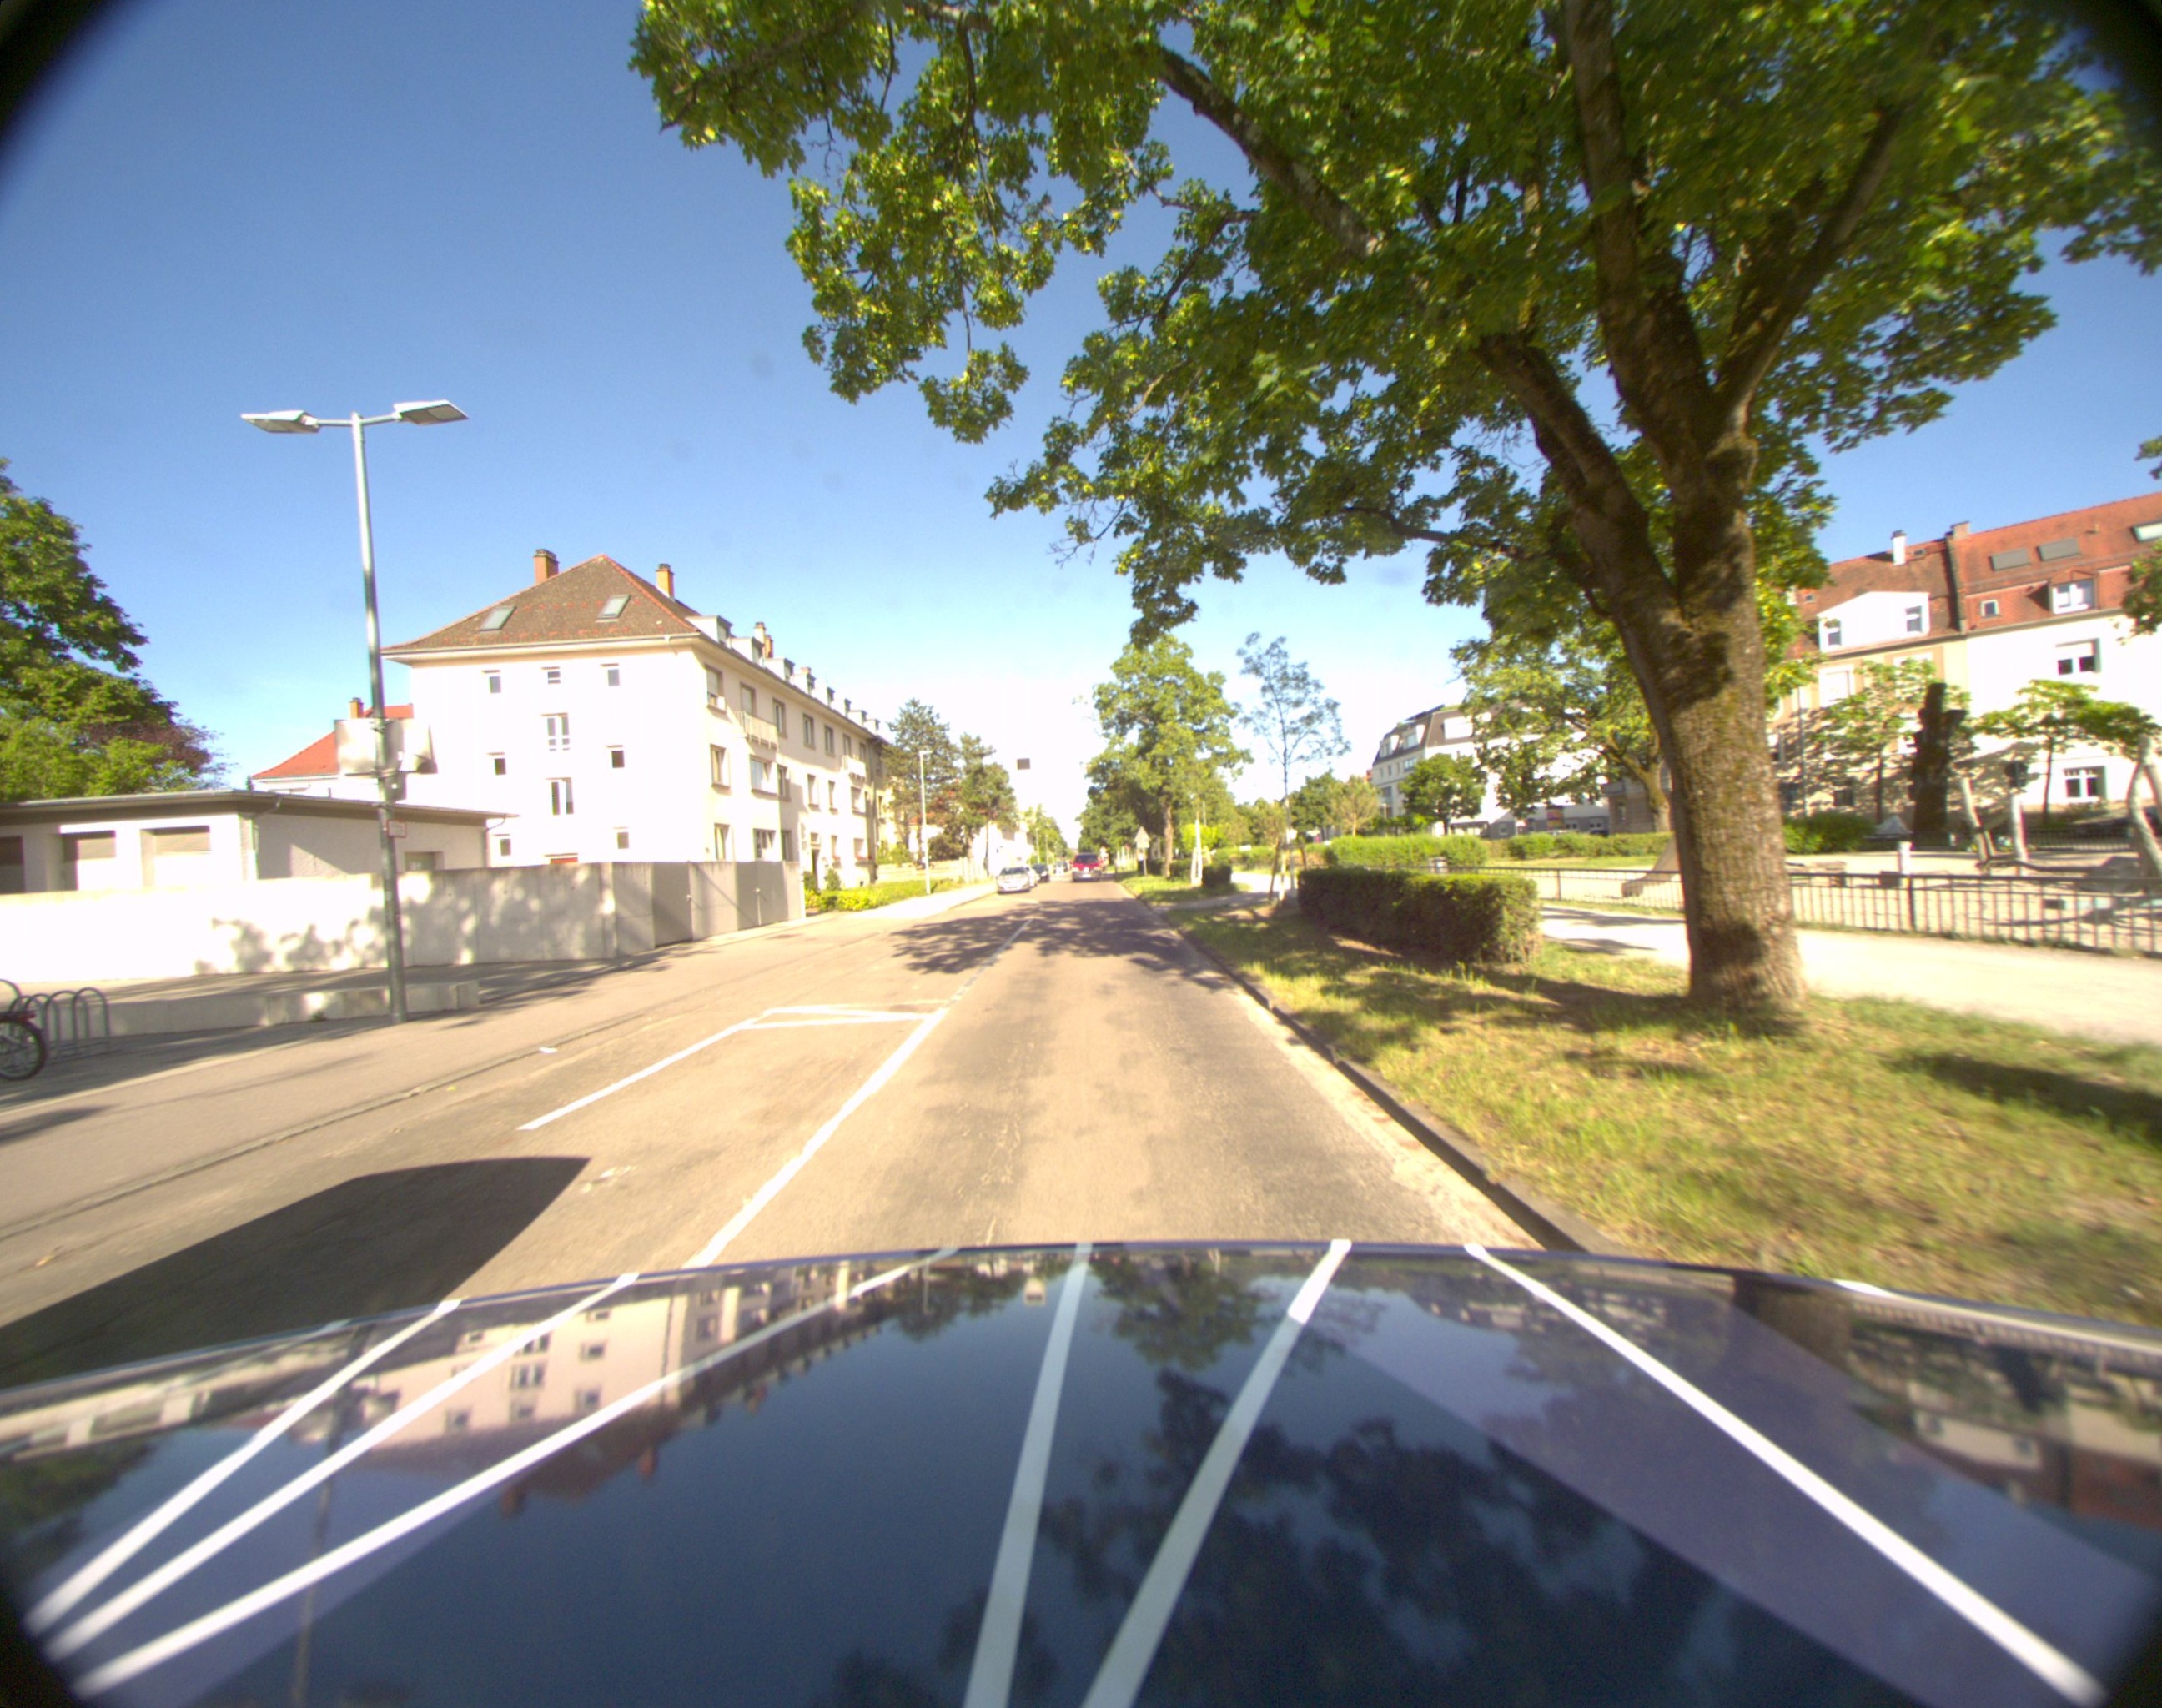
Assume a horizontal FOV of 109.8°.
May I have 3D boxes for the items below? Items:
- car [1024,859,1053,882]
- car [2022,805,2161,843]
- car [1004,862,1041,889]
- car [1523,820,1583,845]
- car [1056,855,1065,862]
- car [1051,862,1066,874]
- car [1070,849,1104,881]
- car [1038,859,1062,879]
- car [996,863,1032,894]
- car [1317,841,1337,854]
[{"bbox_3d":[-3.136,1.222,56.963,1.799,1.501,3.995,-5,0,1],"label":"car"},{"bbox_3d":[47.894,-1.398,35.885,3.989,1.501,1.803,-3,0,35],"label":"car"},{"bbox_3d":[-3.561,1.264,46.943,1.799,1.412,4.288,-5,0,1],"label":"car"},{"bbox_3d":[36.412,-1.621,58.730,1.798,1.625,4.588,-3,0,1],"label":"car"},{"bbox_3d":[-4.637,1.028,168.775,1.799,1.529,4.001,-3,-2,0],"label":"car"},{"bbox_3d":[-3.122,1.977,105.548,1.799,1.529,4.001,-3,-2,0],"label":"car"},{"bbox_3d":[0.391,0.723,51.373,2.092,2.000,4.844,-2,-1,0],"label":"car"},{"bbox_3d":[-2.593,1.237,63.642,1.676,1.414,4.134,-5,0,1],"label":"car"},{"bbox_3d":[-3.489,1.254,40.338,1.664,1.456,4.410,-5,0,-3],"label":"car"},{"bbox_3d":[40.236,-1.104,124.146,1.941,2.017,4.406,-2,0,2],"label":"car"}]
